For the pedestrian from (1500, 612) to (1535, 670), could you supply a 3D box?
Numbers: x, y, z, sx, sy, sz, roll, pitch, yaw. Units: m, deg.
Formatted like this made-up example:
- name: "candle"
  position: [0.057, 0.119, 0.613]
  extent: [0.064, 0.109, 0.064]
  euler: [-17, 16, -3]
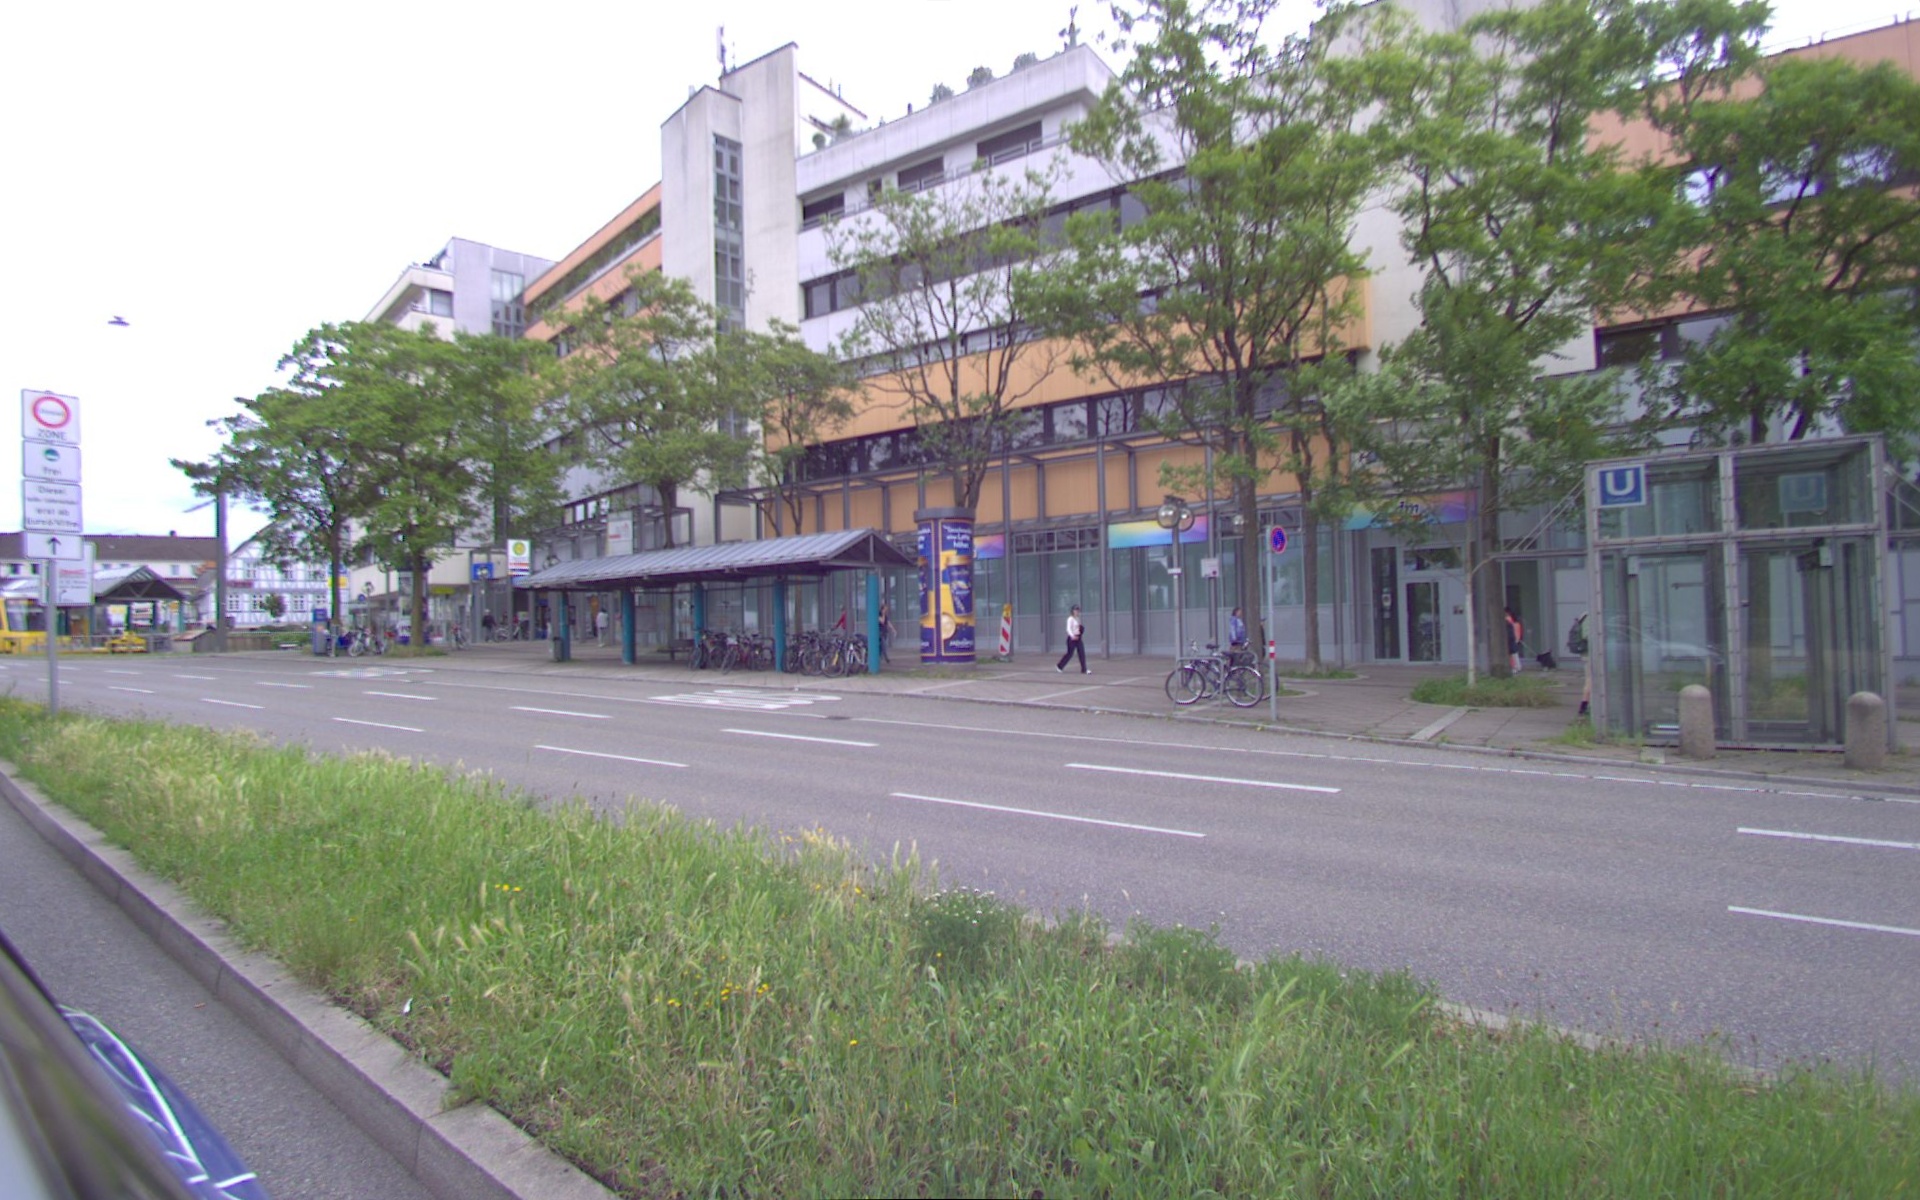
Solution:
- name: "pedestrian"
  position: [13.743, 1.006, 24.929]
  extent: [0.694, 1.385, 0.578]
  euler: [-1, -2, 34]

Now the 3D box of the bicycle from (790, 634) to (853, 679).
- name: "bicycle"
  position: [-3.615, 1.458, 26.593]
  extent: [0.549, 1.048, 1.714]
  euler: [-2, 0, 38]

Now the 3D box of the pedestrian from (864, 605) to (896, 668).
- name: "pedestrian"
  position: [-2.318, 1.068, 29.425]
  extent: [0.769, 1.800, 0.525]
  euler: [-1, -2, 33]

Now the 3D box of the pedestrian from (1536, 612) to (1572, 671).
- name: "pedestrian"
  position: [14.315, 0.998, 24.373]
  extent: [0.694, 1.385, 0.578]
  euler: [-1, -2, 34]

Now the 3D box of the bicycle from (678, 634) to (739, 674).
- name: "bicycle"
  position: [-7.235, 1.535, 29.149]
  extent: [0.549, 1.048, 1.714]
  euler: [-2, 0, 38]

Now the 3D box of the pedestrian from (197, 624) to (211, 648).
- name: "pedestrian"
  position: [-49.636, 2.373, 66.430]
  extent: [0.581, 1.554, 0.570]
  euler: [-1, -2, 32]

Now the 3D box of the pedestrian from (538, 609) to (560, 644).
- name: "pedestrian"
  position: [-20.328, 1.322, 50.085]
  extent: [0.752, 1.695, 0.755]
  euler: [-1, -2, 41]

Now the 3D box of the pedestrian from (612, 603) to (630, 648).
- name: "pedestrian"
  position: [-15.310, 1.153, 45.715]
  extent: [0.558, 2.029, 0.611]
  euler: [1, -2, -44]

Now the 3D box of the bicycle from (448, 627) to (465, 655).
- name: "bicycle"
  position: [-21.352, 1.708, 42.930]
  extent: [0.584, 1.134, 2.044]
  euler: [1, -1, -26]

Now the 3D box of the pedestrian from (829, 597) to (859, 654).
- name: "pedestrian"
  position: [-4.161, 0.899, 36.373]
  extent: [0.791, 2.029, 0.703]
  euler: [-1, 0, 31]

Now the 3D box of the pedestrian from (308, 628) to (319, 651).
- name: "pedestrian"
  position: [-33.817, 2.058, 52.920]
  extent: [0.368, 1.188, 0.338]
  euler: [-1, -2, 31]

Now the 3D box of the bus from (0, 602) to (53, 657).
- name: "bus"
  position: [-55.982, 1.686, 58.618]
  extent: [8.470, 3.006, 2.530]
  euler: [-1, -2, 29]

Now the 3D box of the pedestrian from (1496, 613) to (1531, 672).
- name: "pedestrian"
  position: [13.319, 1.012, 24.350]
  extent: [0.694, 1.385, 0.578]
  euler: [-1, -2, 34]

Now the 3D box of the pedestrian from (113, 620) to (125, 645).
- name: "pedestrian"
  position: [-68.262, 2.613, 82.180]
  extent: [0.731, 2.029, 0.940]
  euler: [1, -2, -39]

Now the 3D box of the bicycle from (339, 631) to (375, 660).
- name: "bicycle"
  position: [-23.615, 1.767, 39.652]
  extent: [0.585, 1.085, 2.042]
  euler: [0, -1, -12]

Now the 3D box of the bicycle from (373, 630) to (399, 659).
- name: "bicycle"
  position: [-22.748, 1.754, 40.110]
  extent: [0.584, 1.085, 2.044]
  euler: [0, -1, -21]

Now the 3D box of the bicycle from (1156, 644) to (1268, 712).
- name: "bicycle"
  position: [4.366, 1.324, 17.598]
  extent: [0.802, 1.068, 1.739]
  euler: [0, -1, -40]

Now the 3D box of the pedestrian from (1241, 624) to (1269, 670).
- name: "pedestrian"
  position: [7.775, 1.235, 26.655]
  extent: [0.620, 1.190, 0.418]
  euler: [-1, -2, 31]

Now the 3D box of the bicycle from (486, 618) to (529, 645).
- name: "bicycle"
  position: [-24.948, 1.725, 55.789]
  extent: [2.107, 1.385, 0.621]
  euler: [-1, 0, -31]

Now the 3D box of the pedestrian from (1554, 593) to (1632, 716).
- name: "pedestrian"
  position: [9.733, 0.828, 15.586]
  extent: [0.916, 1.846, 0.533]
  euler: [-1, -2, 25]

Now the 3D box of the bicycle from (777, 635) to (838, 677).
- name: "bicycle"
  position: [-4.139, 1.515, 27.560]
  extent: [0.549, 1.048, 1.714]
  euler: [-2, -1, 38]

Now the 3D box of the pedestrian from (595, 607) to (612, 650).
- name: "pedestrian"
  position: [-15.474, 1.242, 43.907]
  extent: [0.639, 1.823, 0.761]
  euler: [0, -2, -16]

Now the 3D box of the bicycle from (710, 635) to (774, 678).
- name: "bicycle"
  position: [-5.962, 1.530, 27.722]
  extent: [0.549, 1.048, 1.714]
  euler: [-2, 1, 38]

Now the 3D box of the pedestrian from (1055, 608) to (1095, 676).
- name: "pedestrian"
  position: [2.862, 1.030, 25.128]
  extent: [0.721, 1.662, 0.669]
  euler: [-1, -1, 37]

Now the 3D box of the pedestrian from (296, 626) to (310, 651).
- name: "pedestrian"
  position: [-41.541, 2.435, 63.985]
  extent: [0.581, 1.554, 0.570]
  euler: [-1, -2, 32]

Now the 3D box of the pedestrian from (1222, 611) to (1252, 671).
- name: "pedestrian"
  position: [7.118, 1.046, 26.014]
  extent: [0.620, 1.515, 0.563]
  euler: [-1, -2, 31]

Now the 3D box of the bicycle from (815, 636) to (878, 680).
- name: "bicycle"
  position: [-2.906, 1.474, 26.060]
  extent: [0.549, 1.048, 1.714]
  euler: [-2, 0, 38]

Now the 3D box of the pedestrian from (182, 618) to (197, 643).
- name: "pedestrian"
  position: [-62.543, 2.452, 82.127]
  extent: [0.867, 2.029, 1.010]
  euler: [1, -2, -44]

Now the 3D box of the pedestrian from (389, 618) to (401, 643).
- name: "pedestrian"
  position: [-34.362, 1.863, 61.583]
  extent: [0.548, 1.506, 0.454]
  euler: [1, -2, -41]

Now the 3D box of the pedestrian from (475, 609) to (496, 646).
- name: "pedestrian"
  position: [-24.151, 1.394, 51.505]
  extent: [0.752, 1.859, 0.755]
  euler: [-1, -2, 41]

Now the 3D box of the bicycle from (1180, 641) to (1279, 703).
- name: "bicycle"
  position: [4.982, 1.312, 18.789]
  extent: [1.737, 1.074, 0.542]
  euler: [-2, -1, 45]

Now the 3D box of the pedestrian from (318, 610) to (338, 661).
- name: "pedestrian"
  position: [-29.106, 1.627, 46.588]
  extent: [0.608, 2.325, 0.583]
  euler: [-1, -2, 39]

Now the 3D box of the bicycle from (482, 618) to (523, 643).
- name: "bicycle"
  position: [-26.097, 1.736, 57.767]
  extent: [2.106, 1.377, 0.621]
  euler: [-1, 0, -24]

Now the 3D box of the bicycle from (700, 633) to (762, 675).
- name: "bicycle"
  position: [-6.456, 1.512, 28.584]
  extent: [0.549, 1.048, 1.714]
  euler: [-2, 1, 38]
